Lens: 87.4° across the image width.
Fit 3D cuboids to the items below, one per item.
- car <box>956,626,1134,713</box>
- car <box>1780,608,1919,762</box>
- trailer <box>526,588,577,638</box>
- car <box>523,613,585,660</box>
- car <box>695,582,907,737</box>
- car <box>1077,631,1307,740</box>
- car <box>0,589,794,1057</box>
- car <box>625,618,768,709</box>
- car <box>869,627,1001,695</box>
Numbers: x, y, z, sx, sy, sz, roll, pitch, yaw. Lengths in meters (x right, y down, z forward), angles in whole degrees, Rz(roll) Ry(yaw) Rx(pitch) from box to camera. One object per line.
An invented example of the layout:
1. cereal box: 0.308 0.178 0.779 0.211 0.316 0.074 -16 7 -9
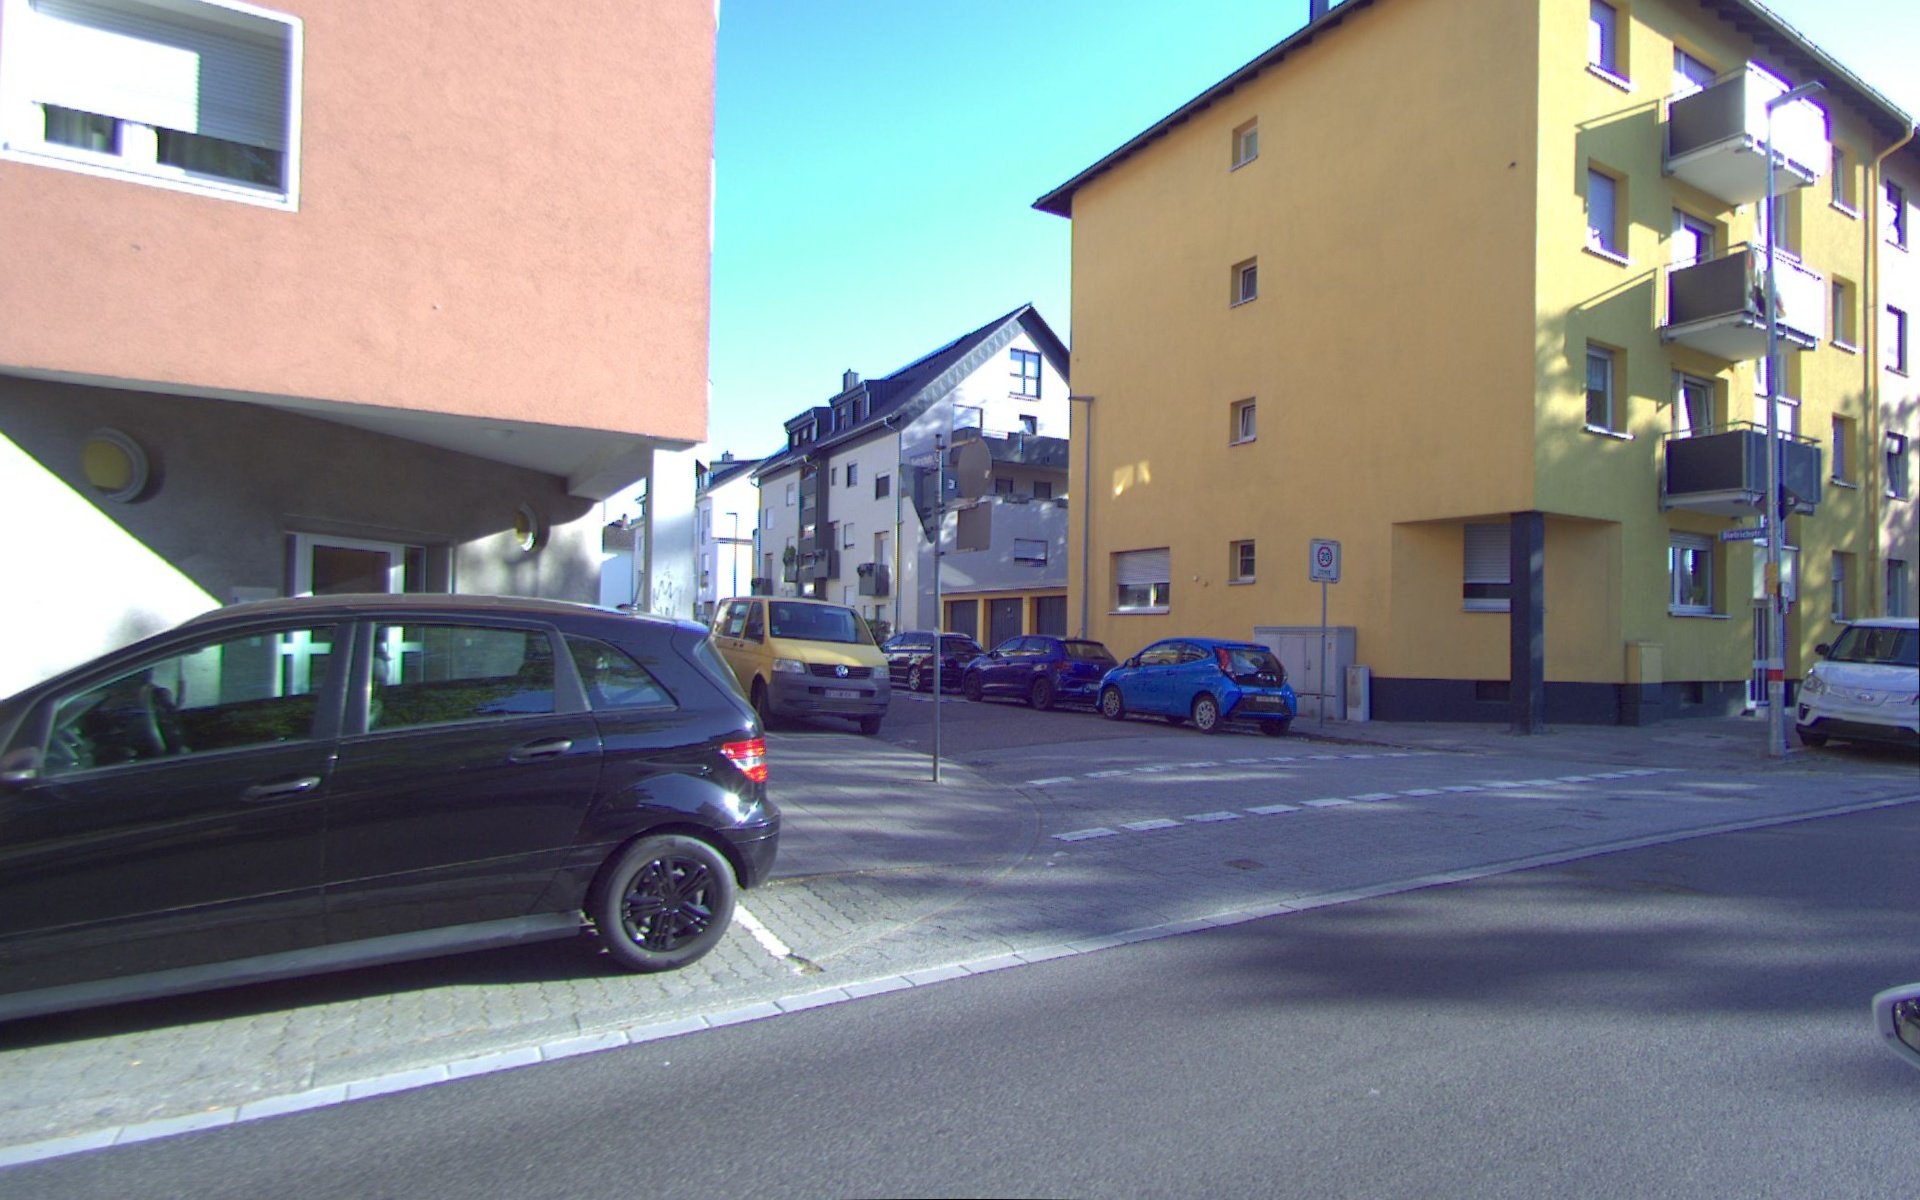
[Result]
1. car: 1.611 1.335 20.405 1.727 1.587 3.974 2 -2 -28
2. car: 14.129 1.144 14.512 5.144 1.932 1.727 2 -1 -29
3. trailer: -25.697 0.780 63.051 2.214 2.931 5.098 3 -1 -30
4. car: -16.272 1.452 40.178 1.895 1.791 4.278 2 -2 -27
5. car: -2.666 0.869 15.763 1.895 2.040 4.729 2 -2 -27
6. car: 3.748 1.327 16.837 1.727 1.587 3.768 2 -2 -28
7. car: -2.914 0.759 4.431 3.971 1.544 1.671 2 0 -28
8. car: -5.493 1.230 20.559 1.895 1.647 4.433 2 -2 -27
9. car: -0.722 1.493 25.548 1.727 1.587 3.974 2 -2 -28
